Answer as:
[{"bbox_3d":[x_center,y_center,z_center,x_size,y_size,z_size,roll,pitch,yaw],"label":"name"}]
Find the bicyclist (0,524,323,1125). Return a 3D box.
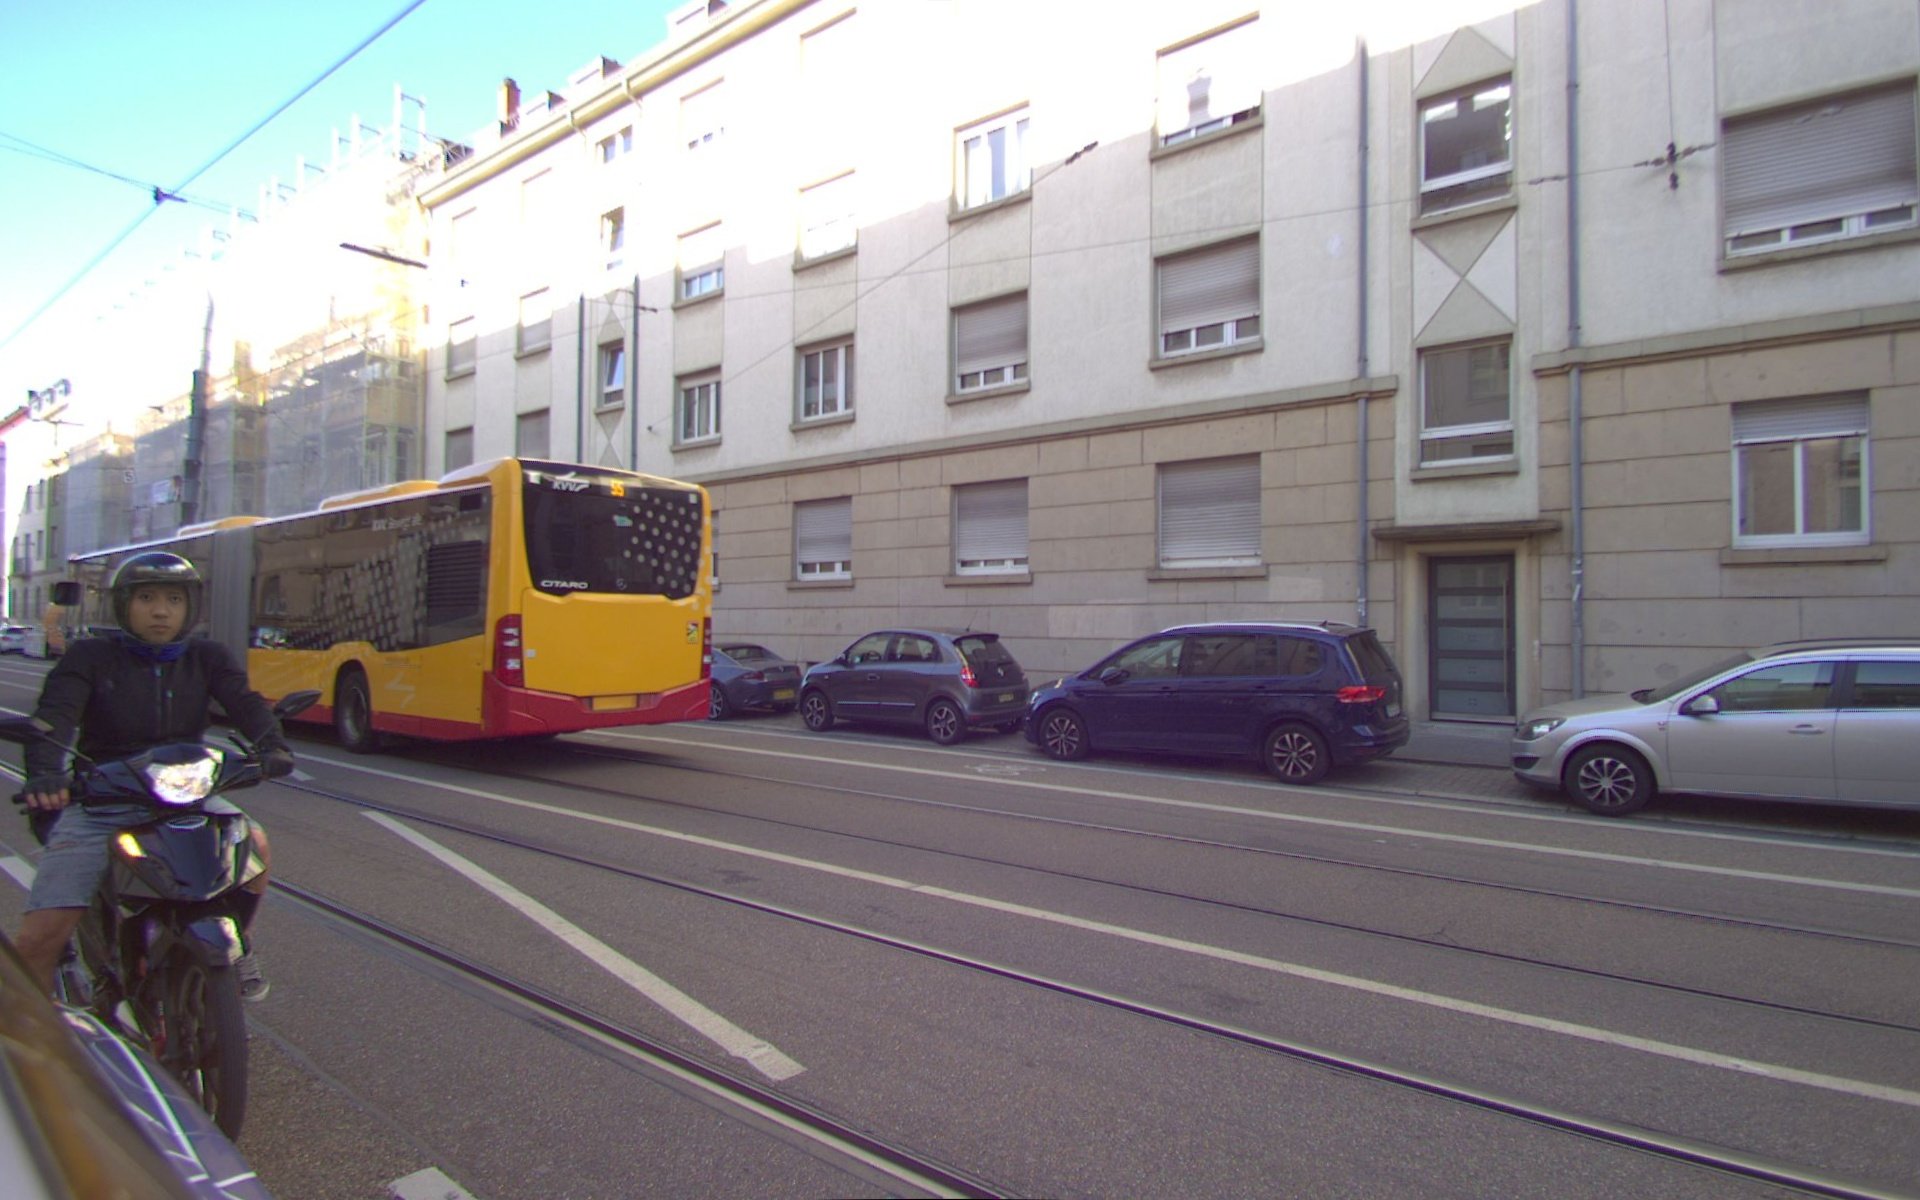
[{"bbox_3d":[-2.648,0.602,3.170,0.849,1.566,0.833,-1,-3,38],"label":"bicyclist"}]

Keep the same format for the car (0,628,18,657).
[{"bbox_3d":[-54.818,2.416,57.140,4.216,1.590,1.682,-1,-1,37],"label":"car"}]

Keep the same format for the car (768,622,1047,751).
[{"bbox_3d":[-0.848,1.149,14.857,3.995,1.581,1.683,-1,0,39],"label":"car"}]

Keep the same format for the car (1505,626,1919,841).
[{"bbox_3d":[7.142,1.013,8.419,4.380,1.521,1.683,-1,0,38],"label":"car"}]

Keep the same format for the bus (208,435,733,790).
[{"bbox_3d":[-6.345,0.215,12.488,7.566,3.186,2.712,-1,-3,38],"label":"bus"}]

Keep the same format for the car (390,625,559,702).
[{"bbox_3d":[-10.972,1.365,22.763,4.400,1.580,1.683,-1,-3,39],"label":"car"}]

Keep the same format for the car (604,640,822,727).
[{"bbox_3d":[-4.334,1.372,17.569,3.779,1.225,1.684,0,0,37],"label":"car"}]

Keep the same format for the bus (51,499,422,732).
[{"bbox_3d":[-13.290,0.337,18.055,10.183,3.182,2.695,-1,-3,39],"label":"bus"}]

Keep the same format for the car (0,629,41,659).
[{"bbox_3d":[-50.082,2.298,53.365,3.995,1.523,1.729,-1,-3,39],"label":"car"}]

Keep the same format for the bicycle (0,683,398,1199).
[{"bbox_3d":[-2.587,0.895,3.142,1.971,1.186,0.731,-1,-3,38],"label":"bicycle"}]

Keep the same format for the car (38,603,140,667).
[{"bbox_3d":[-36.319,1.463,42.139,5.993,2.488,2.099,-1,-3,39],"label":"car"}]

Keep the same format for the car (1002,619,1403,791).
[{"bbox_3d":[2.706,1.052,11.759,4.235,1.627,1.684,0,0,36],"label":"car"}]

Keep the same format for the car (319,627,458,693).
[{"bbox_3d":[-14.550,1.466,25.697,3.995,1.426,1.683,0,1,39],"label":"car"}]
